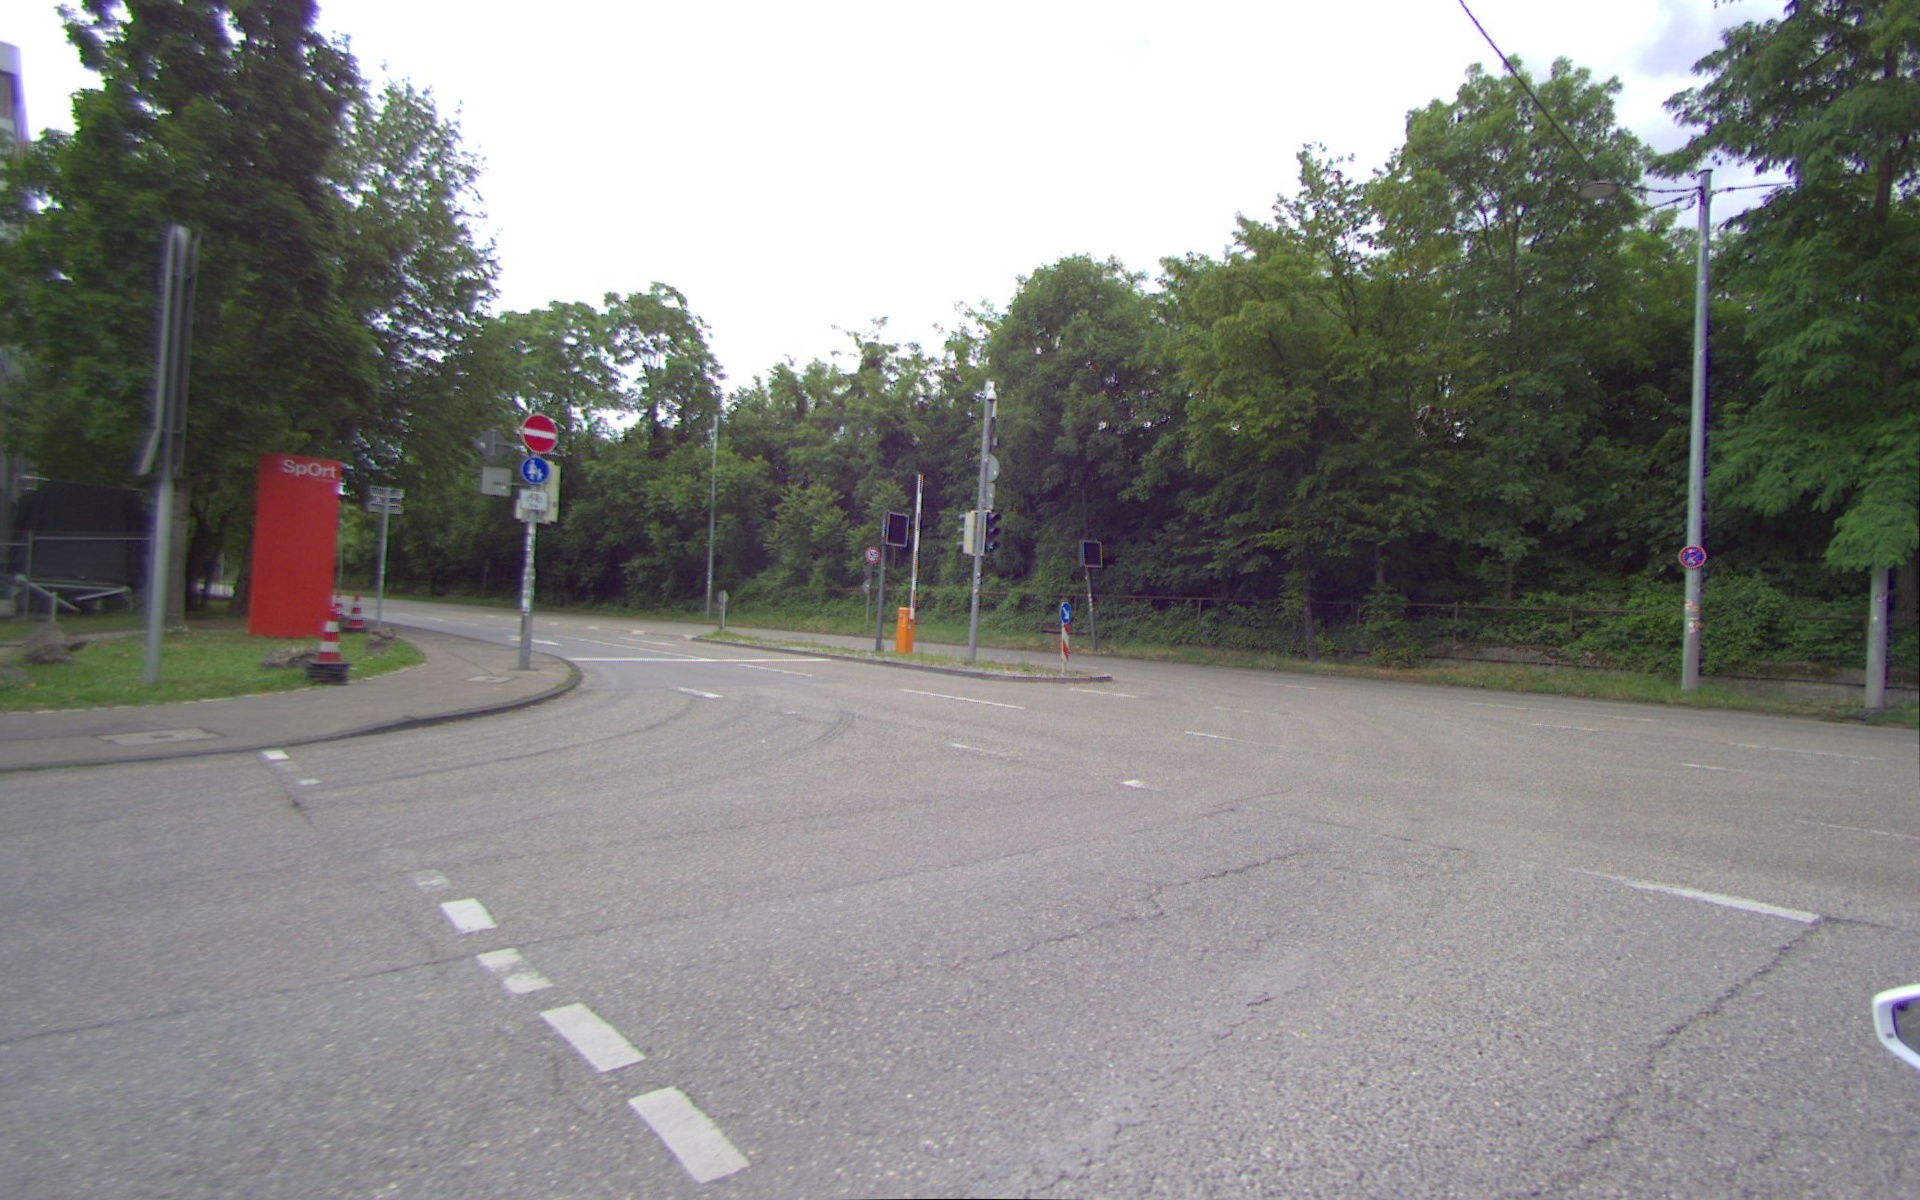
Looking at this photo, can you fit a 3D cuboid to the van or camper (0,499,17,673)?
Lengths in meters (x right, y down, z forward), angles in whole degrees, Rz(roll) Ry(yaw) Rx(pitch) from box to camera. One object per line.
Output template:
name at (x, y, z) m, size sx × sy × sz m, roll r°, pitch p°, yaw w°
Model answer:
van or camper at (-12.085, -0.224, 10.954) m, size 2.152 × 2.137 × 5.580 m, roll 3°, pitch -4°, yaw -39°
